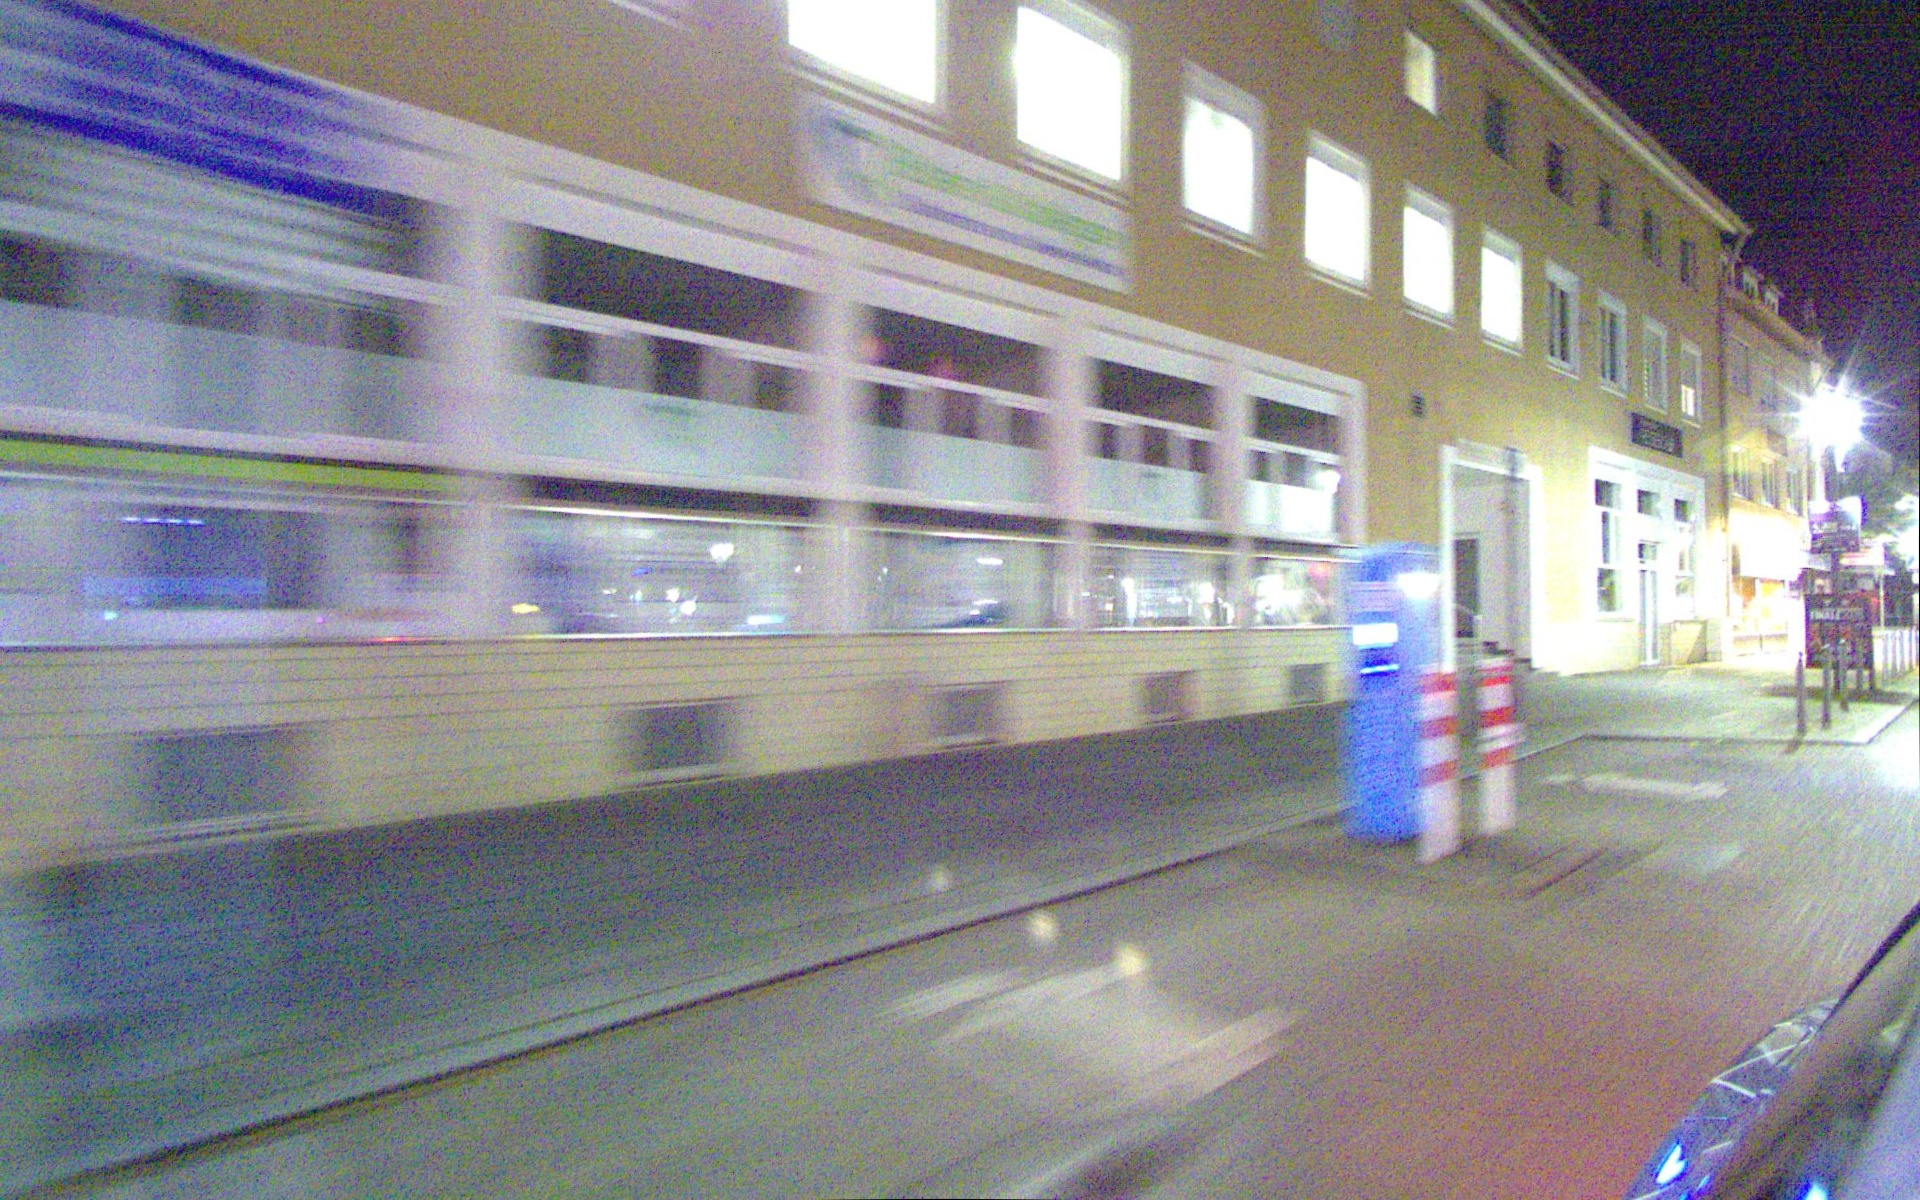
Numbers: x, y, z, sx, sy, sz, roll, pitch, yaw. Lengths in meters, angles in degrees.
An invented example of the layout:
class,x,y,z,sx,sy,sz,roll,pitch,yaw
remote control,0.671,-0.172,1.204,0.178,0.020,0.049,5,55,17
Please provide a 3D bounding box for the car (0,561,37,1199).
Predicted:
class,x,y,z,sx,sy,sz,roll,pitch,yaw
car,-3.335,0.726,0.189,4.554,1.506,1.746,-1,1,-40
